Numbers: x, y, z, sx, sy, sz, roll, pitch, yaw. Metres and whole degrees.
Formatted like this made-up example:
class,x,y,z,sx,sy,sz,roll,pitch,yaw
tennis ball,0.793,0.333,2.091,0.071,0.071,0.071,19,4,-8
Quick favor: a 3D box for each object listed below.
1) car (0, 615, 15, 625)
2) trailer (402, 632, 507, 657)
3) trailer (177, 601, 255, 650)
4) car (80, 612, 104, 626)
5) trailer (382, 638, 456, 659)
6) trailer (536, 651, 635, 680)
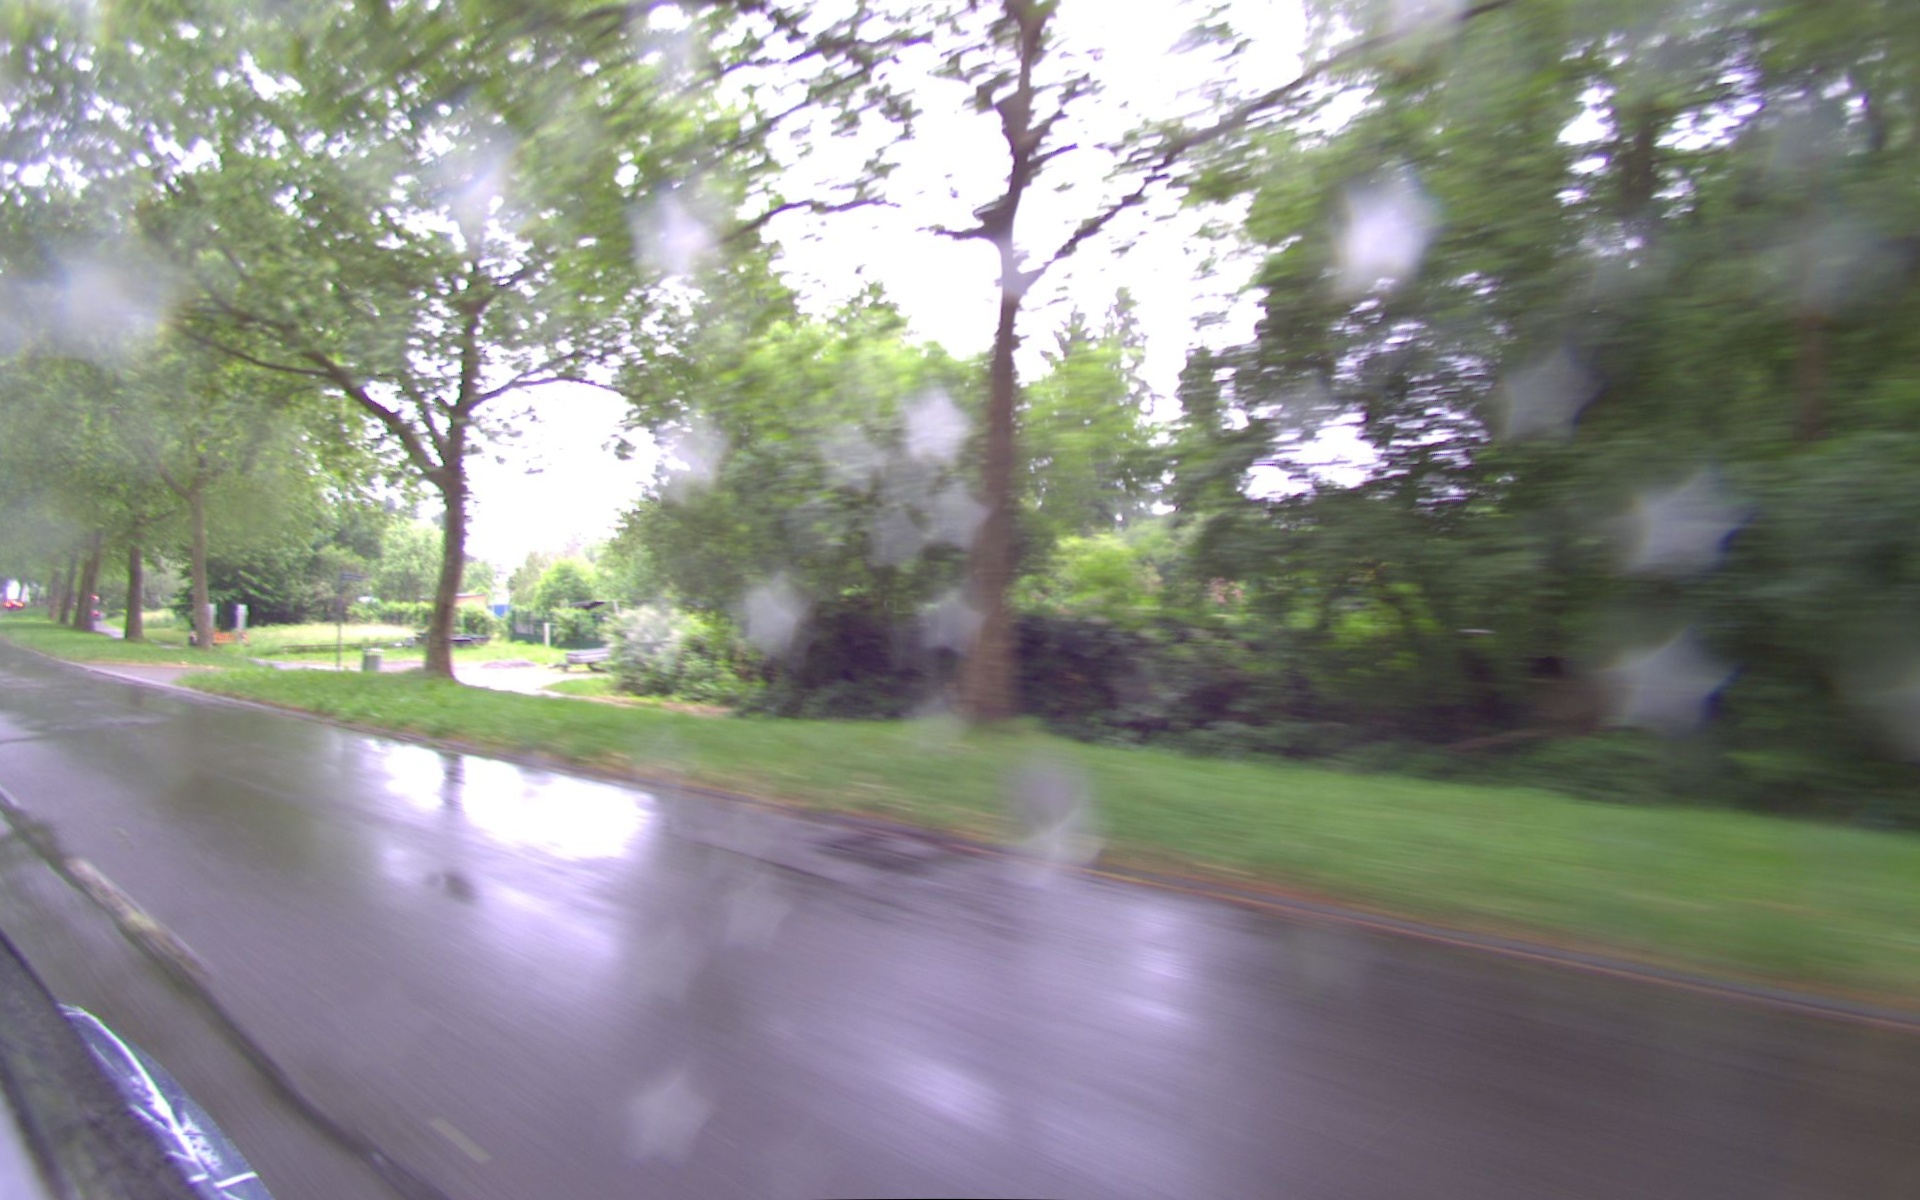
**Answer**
class,x,y,z,sx,sy,sz,roll,pitch,yaw
car,-141.306,2.919,150.078,3.374,1.464,1.572,0,0,44
trailer,-25.856,2.237,51.846,2.382,1.040,4.270,0,0,42
trailer,-43.564,1.417,59.202,2.766,2.684,6.656,0,0,-45
car,-113.538,2.491,132.384,1.868,1.695,4.012,0,0,-32
trailer,-28.654,2.568,53.640,1.769,0.952,3.041,0,0,43
trailer,-13.718,2.386,37.143,2.993,0.844,1.679,0,1,-44
